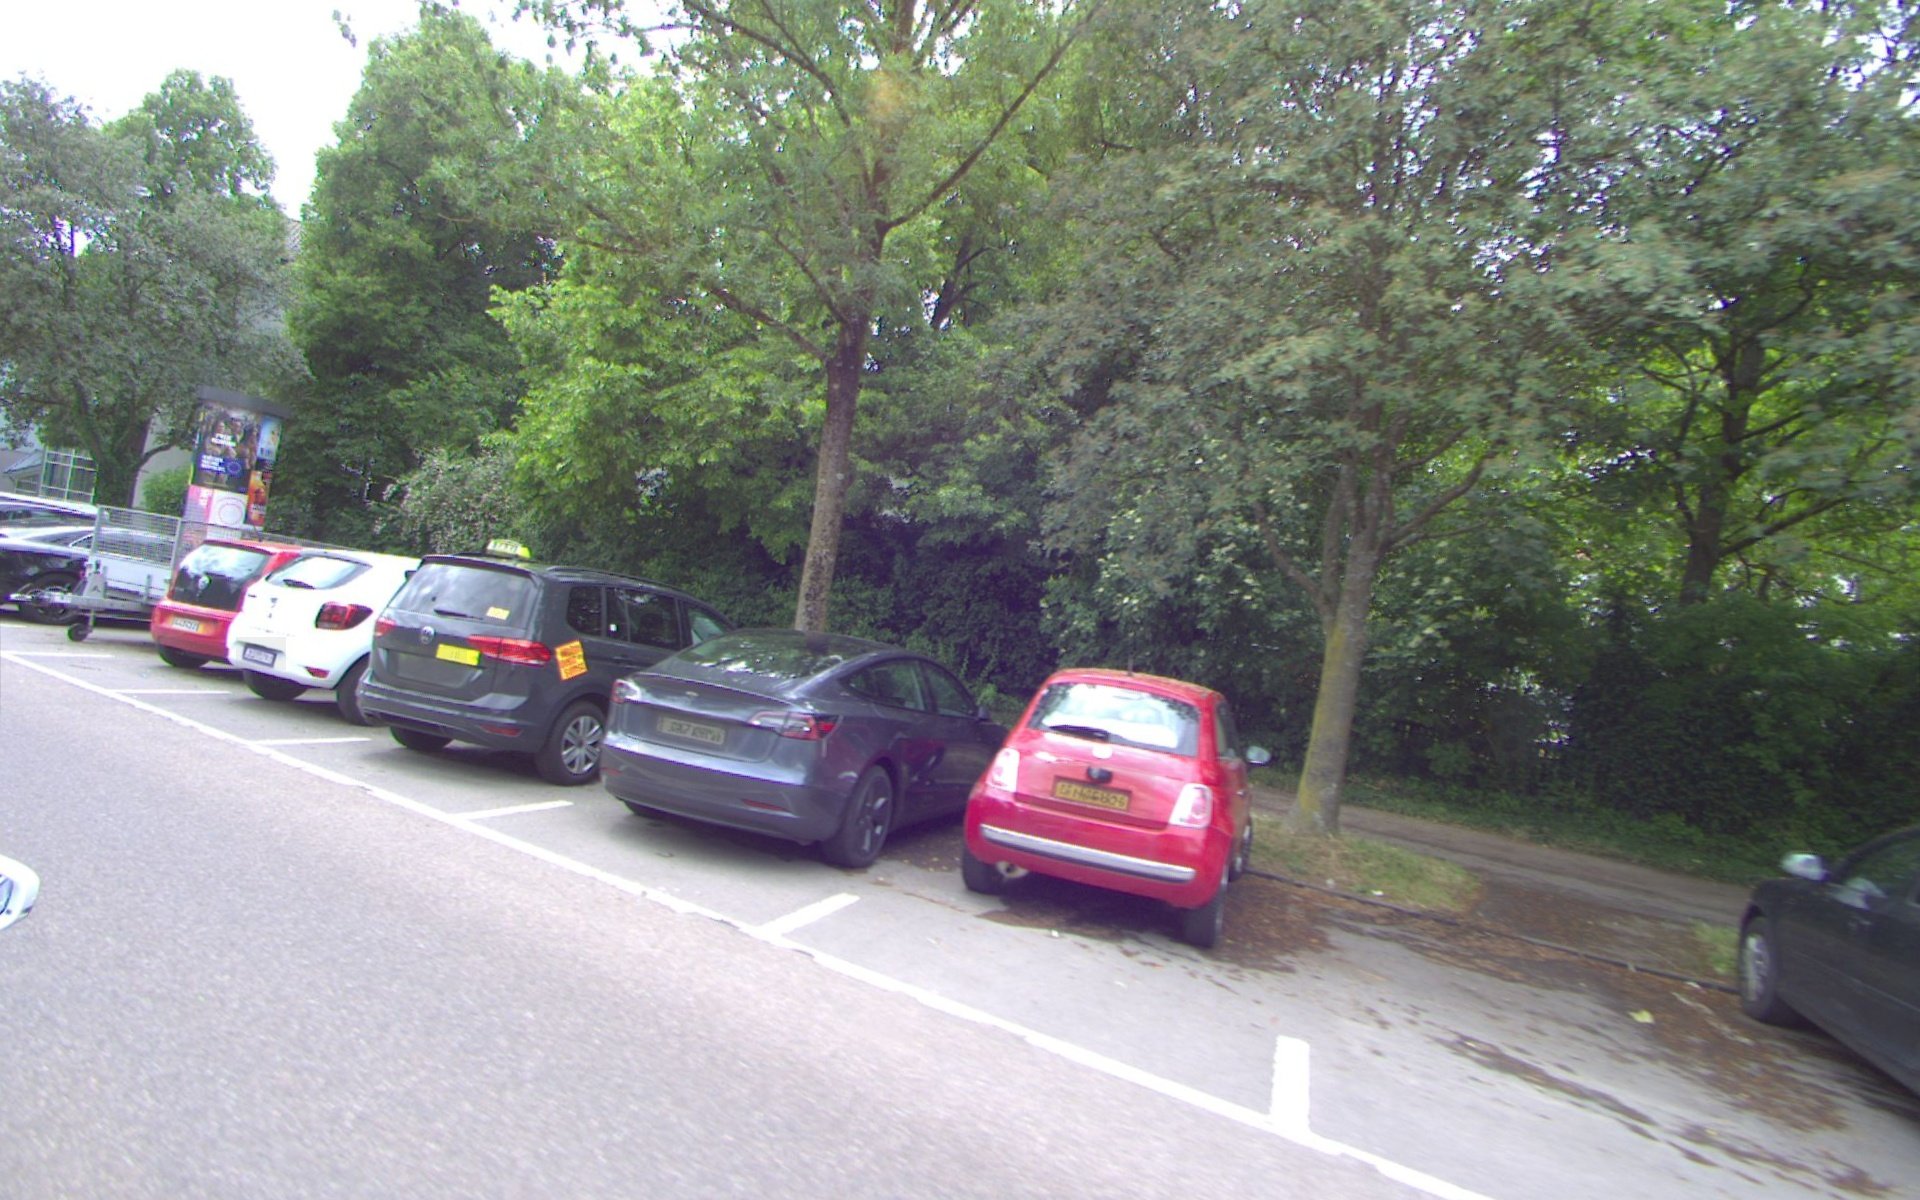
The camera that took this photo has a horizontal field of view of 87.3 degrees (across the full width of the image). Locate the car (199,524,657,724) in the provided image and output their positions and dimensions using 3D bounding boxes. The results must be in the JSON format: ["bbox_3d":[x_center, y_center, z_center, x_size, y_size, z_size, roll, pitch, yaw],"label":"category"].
[{"bbox_3d":[-5.188,0.386,10.402,1.578,1.546,3.834,7,-3,27],"label":"car"}]

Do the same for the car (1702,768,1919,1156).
[{"bbox_3d":[5.106,1.763,4.563,1.605,1.480,4.238,8,-3,22],"label":"car"}]

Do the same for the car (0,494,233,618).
[{"bbox_3d":[-13.889,-0.726,15.627,1.587,1.503,3.931,8,-3,16],"label":"car"}]

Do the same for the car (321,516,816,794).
[{"bbox_3d":[-3.105,0.544,8.969,1.649,1.744,4.003,8,-3,22],"label":"car"}]

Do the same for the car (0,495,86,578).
[{"bbox_3d":[-19.820,-1.495,19.254,1.603,1.461,4.365,9,-3,17],"label":"car"}]

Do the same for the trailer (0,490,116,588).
[{"bbox_3d":[-17.760,-1.233,18.547,1.279,1.559,3.000,9,-2,18],"label":"trailer"}]

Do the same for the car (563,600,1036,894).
[{"bbox_3d":[-0.848,1.011,7.807,1.666,1.422,4.179,8,-3,20],"label":"car"}]

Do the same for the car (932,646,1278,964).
[{"bbox_3d":[1.262,1.271,7.224,1.605,1.480,3.341,8,-3,21],"label":"car"}]

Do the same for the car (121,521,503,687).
[{"bbox_3d":[-7.364,0.164,11.850,1.530,1.461,3.441,8,-3,19],"label":"car"}]

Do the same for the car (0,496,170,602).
[{"bbox_3d":[-16.022,-0.983,16.959,1.603,1.471,3.858,8,-3,19],"label":"car"}]

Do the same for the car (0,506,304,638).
[{"bbox_3d":[-11.652,-0.373,13.919,1.531,1.342,4.054,7,-3,22],"label":"car"}]

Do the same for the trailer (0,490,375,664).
[{"bbox_3d":[-9.581,-0.189,12.453,1.615,1.551,3.706,8,-3,19],"label":"trailer"}]

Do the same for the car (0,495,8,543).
[{"bbox_3d":[-22.373,-1.848,20.684,1.603,1.461,3.628,8,-3,15],"label":"car"}]
